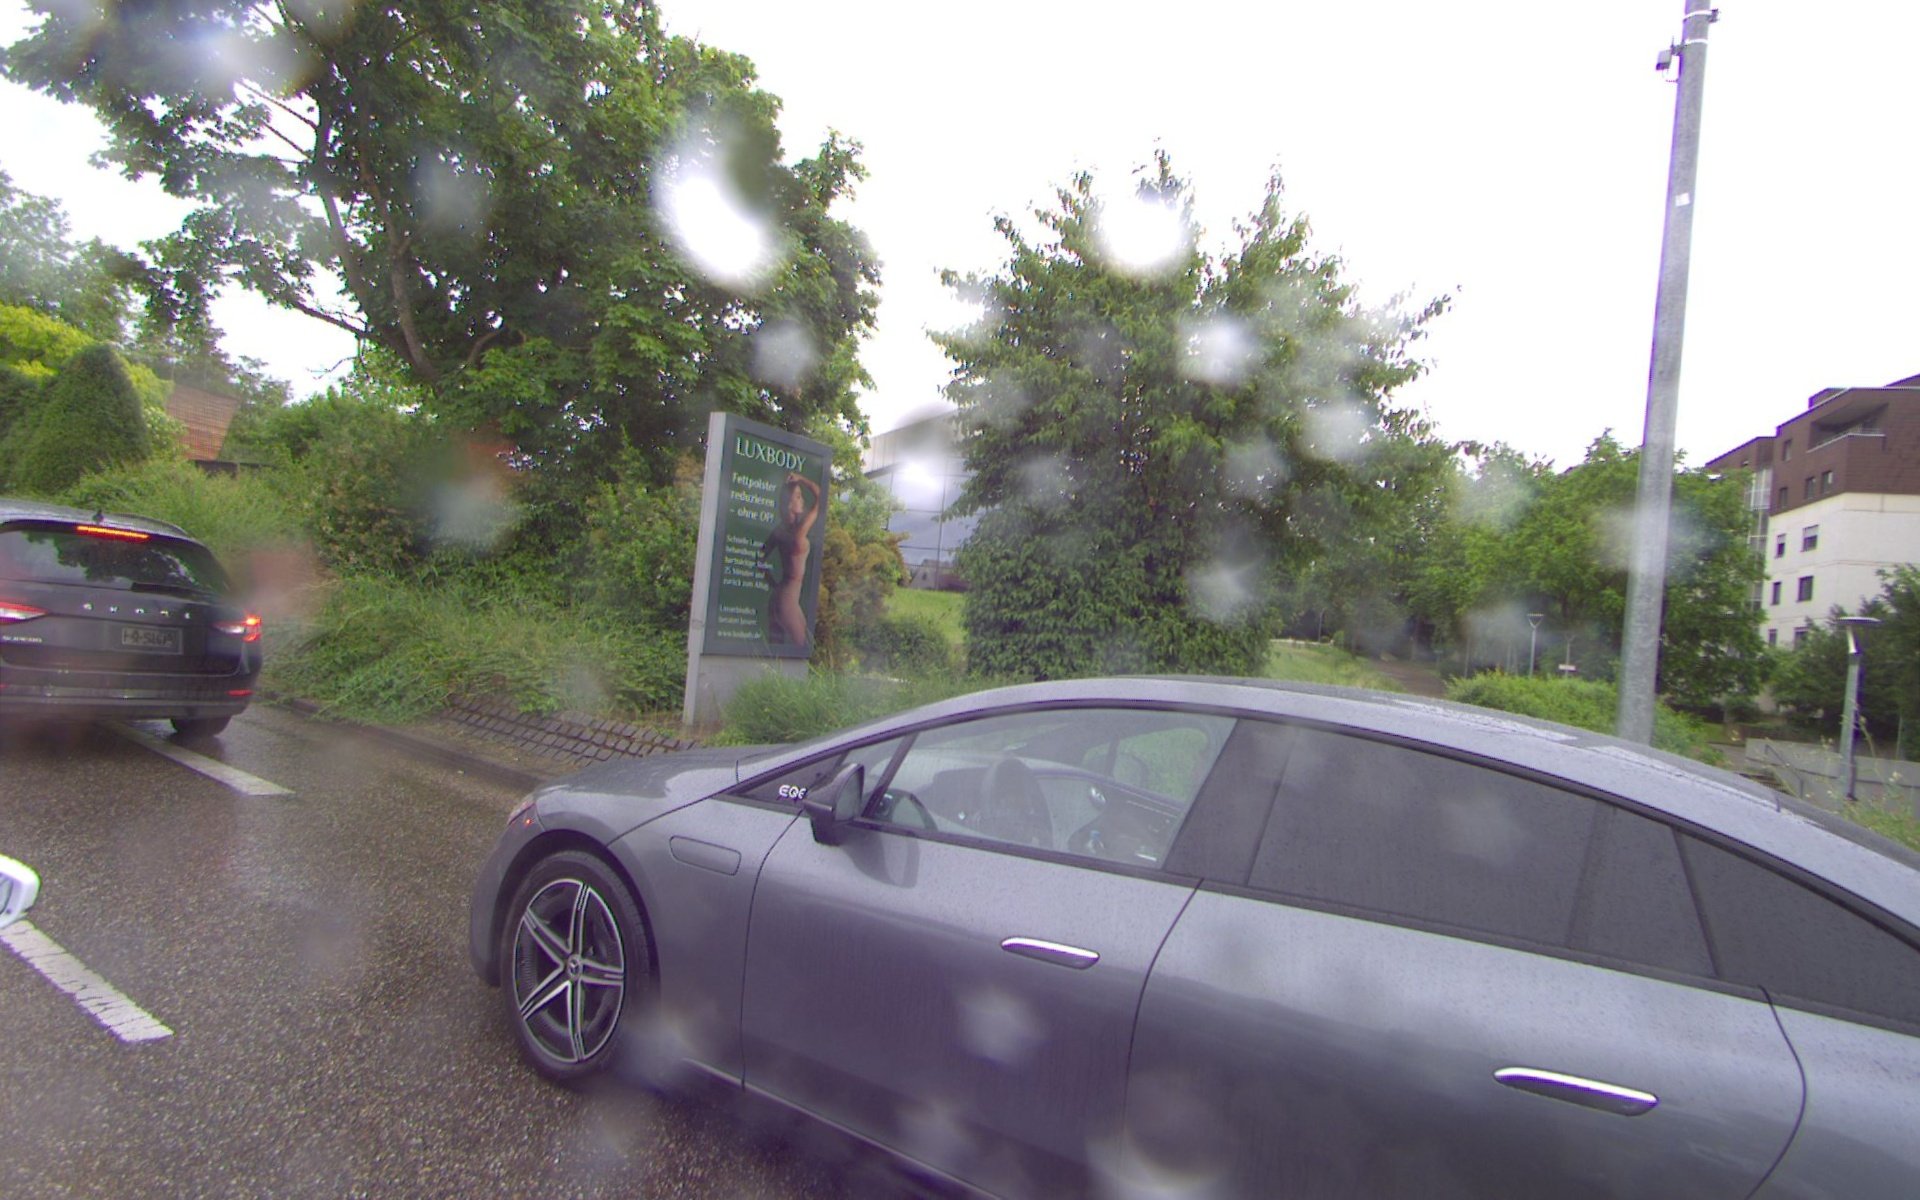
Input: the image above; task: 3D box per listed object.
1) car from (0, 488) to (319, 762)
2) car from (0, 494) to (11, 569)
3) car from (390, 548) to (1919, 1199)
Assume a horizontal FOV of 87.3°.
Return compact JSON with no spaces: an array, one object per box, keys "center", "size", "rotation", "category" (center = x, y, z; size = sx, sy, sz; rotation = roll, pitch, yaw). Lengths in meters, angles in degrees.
[{"center":[-6.660,-0.009,7.144],"size":[4.279,1.483,1.841],"rotation":[7,-2,33],"category":"car"},{"center":[-12.480,-0.703,11.065],"size":[4.048,1.483,1.842],"rotation":[7,-2,31],"category":"car"},{"center":[0.663,0.912,2.929],"size":[4.728,1.483,1.842],"rotation":[7,-2,31],"category":"car"}]
